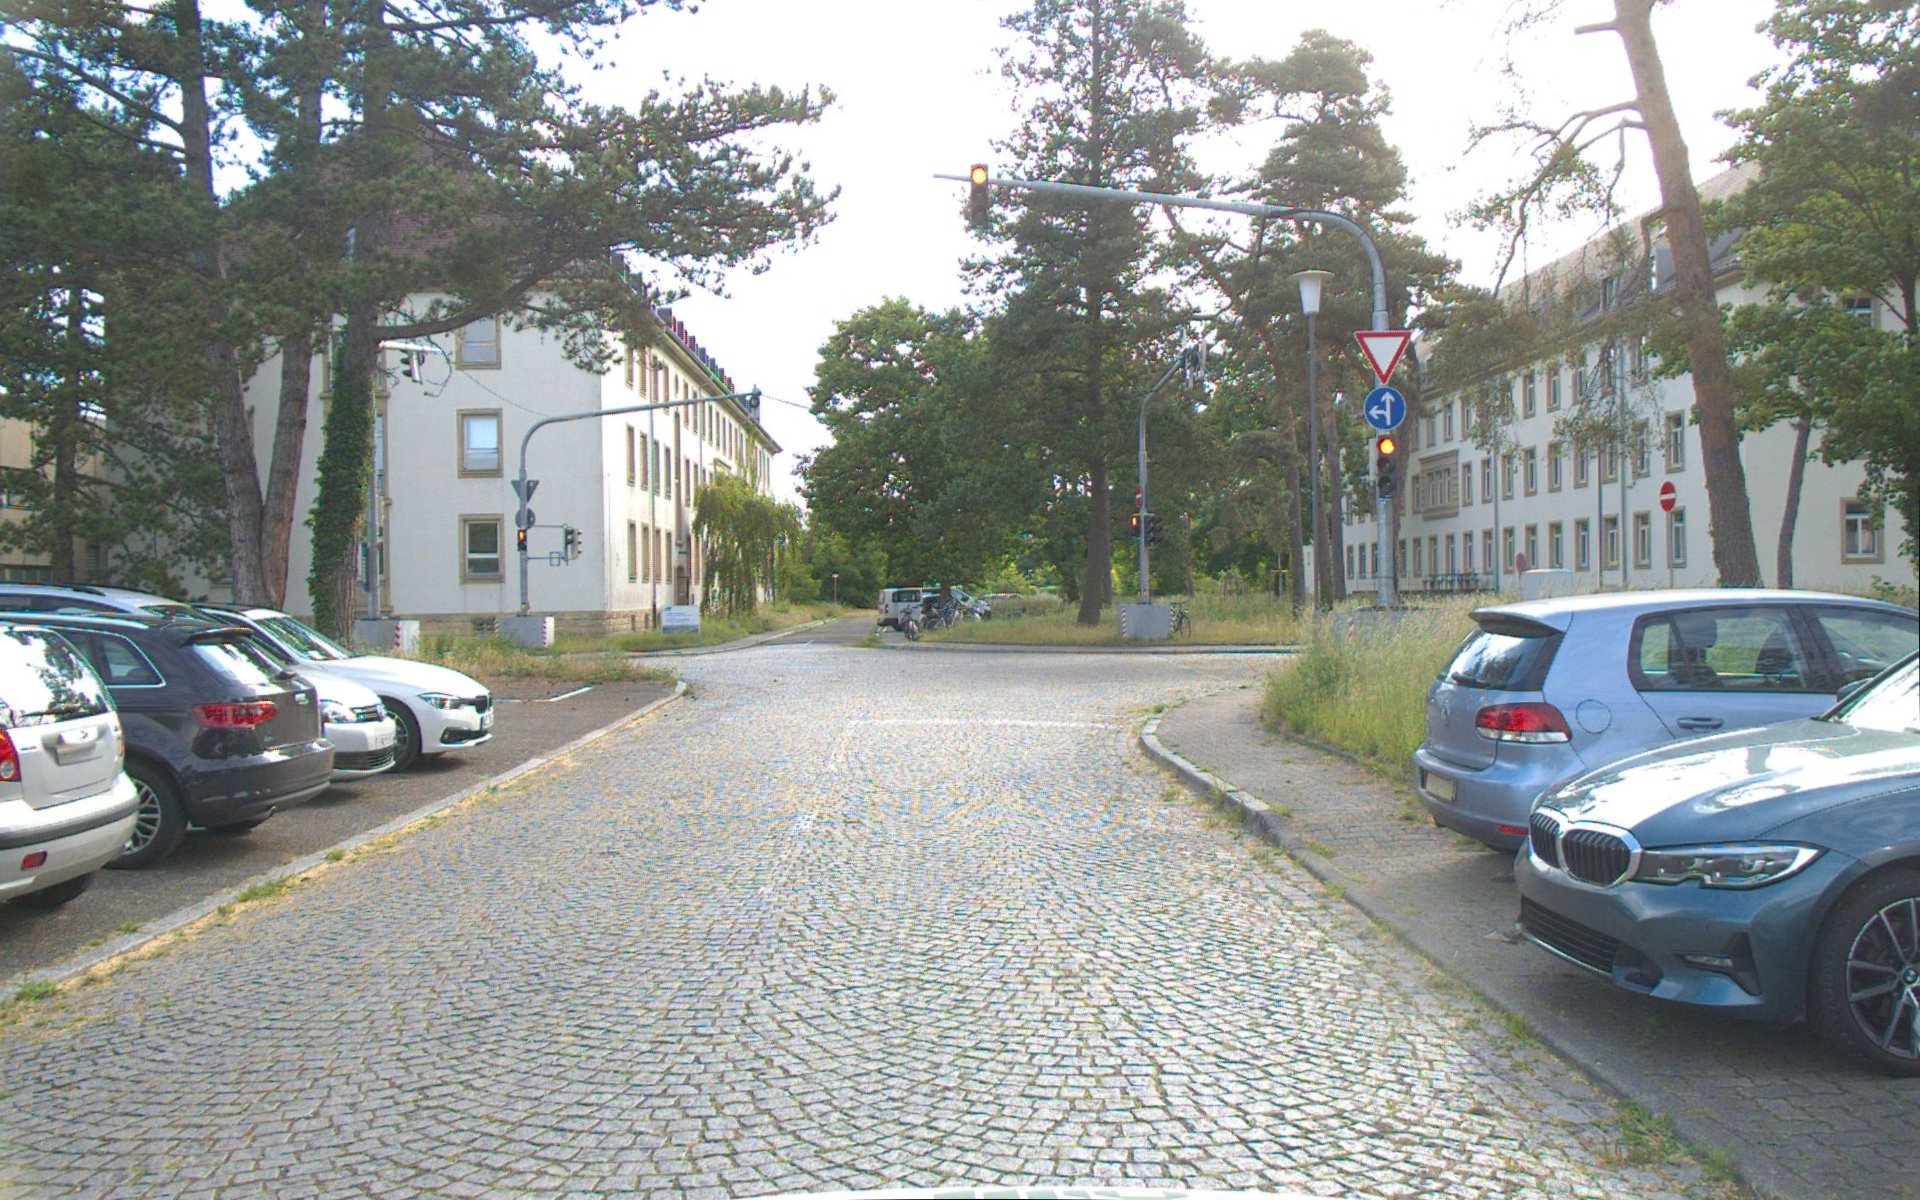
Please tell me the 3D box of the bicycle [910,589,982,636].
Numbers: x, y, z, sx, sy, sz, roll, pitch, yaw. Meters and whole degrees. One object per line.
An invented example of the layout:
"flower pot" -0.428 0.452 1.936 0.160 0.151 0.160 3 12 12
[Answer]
"bicycle" -0.540 0.481 63.734 2.719 1.724 1.120 1 0 0

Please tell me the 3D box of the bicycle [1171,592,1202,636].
"bicycle" 6.293 0.384 46.035 0.708 1.189 2.738 1 0 5

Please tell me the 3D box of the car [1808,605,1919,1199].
"car" 4.329 0.682 3.429 4.239 1.453 1.766 -2 0 -3

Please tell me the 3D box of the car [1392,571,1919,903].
"car" 4.400 0.621 8.715 3.765 1.496 1.641 -2 0 -2

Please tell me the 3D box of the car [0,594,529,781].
"car" -6.466 0.779 15.471 4.391 1.467 1.828 3 0 -5

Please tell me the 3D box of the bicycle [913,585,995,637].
"bicycle" -0.226 0.377 57.644 2.723 1.723 1.118 -1 0 -7

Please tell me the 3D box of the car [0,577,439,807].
"car" -6.276 0.676 13.079 3.756 1.635 1.734 2 0 -4

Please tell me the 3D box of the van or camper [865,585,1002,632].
"van or camper" -1.209 0.375 75.589 5.933 1.983 1.992 -1 0 -15

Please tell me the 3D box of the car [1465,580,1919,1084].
"car" 4.365 0.669 6.105 4.424 1.509 1.806 -1 0 -4

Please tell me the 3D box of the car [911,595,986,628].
"car" -0.500 0.490 72.032 3.078 1.378 1.617 -1 0 -7

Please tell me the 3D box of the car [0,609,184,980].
"car" -5.703 0.775 7.542 3.506 1.501 1.646 2 0 -4

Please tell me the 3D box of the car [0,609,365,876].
"car" -5.843 0.794 10.125 3.759 1.433 1.695 1 0 -2

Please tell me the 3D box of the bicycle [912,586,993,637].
"bicycle" -0.281 0.403 58.837 2.724 1.723 1.118 -1 0 -9

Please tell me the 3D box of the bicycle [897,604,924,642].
"bicycle" -1.575 0.735 53.323 0.711 1.127 2.462 -5 0 0
